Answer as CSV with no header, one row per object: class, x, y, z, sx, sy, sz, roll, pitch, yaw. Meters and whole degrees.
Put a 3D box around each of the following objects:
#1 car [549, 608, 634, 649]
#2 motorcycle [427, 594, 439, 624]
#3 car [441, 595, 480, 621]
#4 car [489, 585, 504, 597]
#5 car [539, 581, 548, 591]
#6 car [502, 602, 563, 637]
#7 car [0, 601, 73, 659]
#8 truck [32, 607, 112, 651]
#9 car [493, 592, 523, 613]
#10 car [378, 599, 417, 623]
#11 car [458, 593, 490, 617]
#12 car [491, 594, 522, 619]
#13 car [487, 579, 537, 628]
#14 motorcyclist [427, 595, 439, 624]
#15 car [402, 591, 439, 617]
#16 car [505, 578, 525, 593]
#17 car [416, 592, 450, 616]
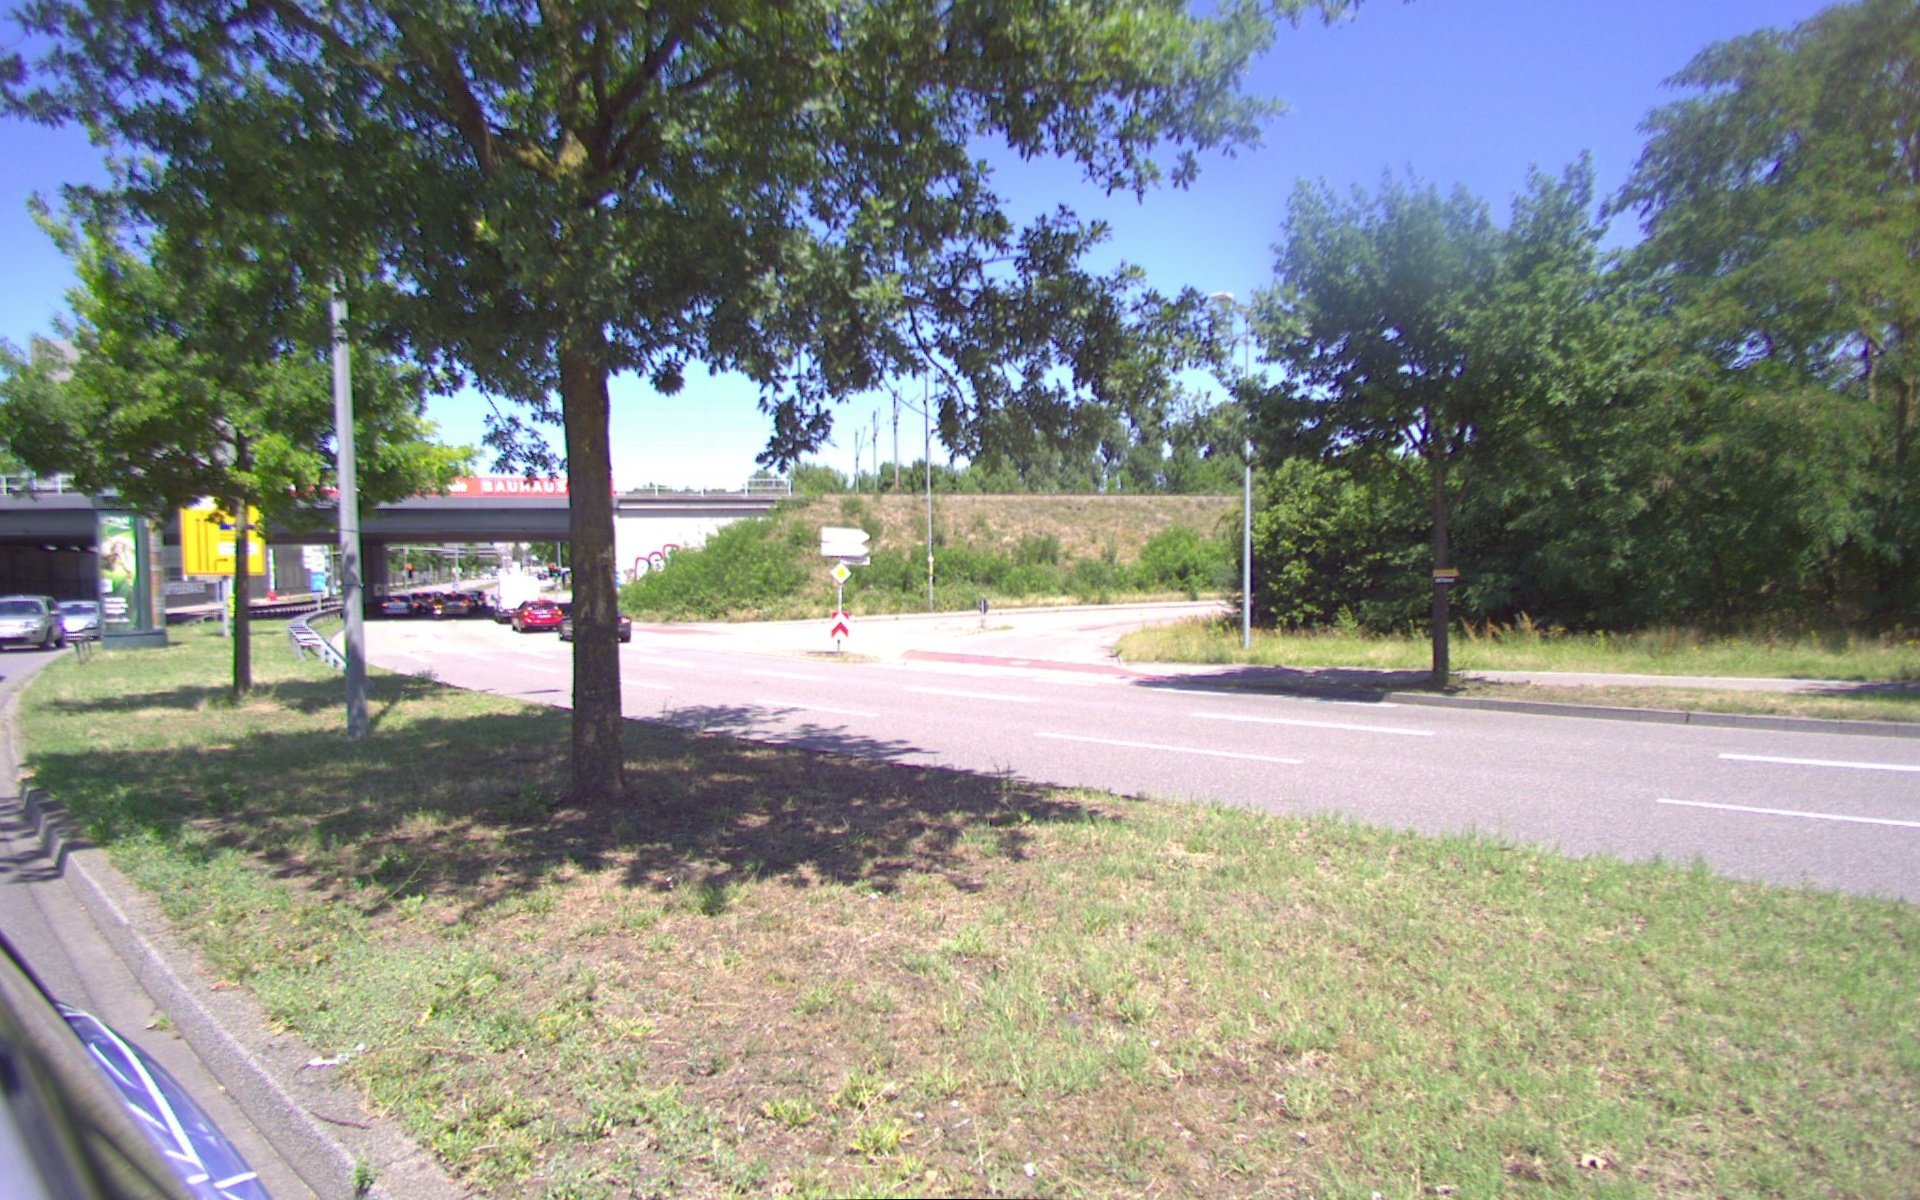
car,-13.602,0.999,37.233,1.785,1.343,4.580,-1,1,-35
motorcycle,-30.424,0.489,58.417,0.589,1.691,2.433,-1,1,-27
car,-31.029,0.520,62.892,1.611,1.579,4.085,0,-1,-18
car,-79.135,-1.469,172.825,1.965,2.029,4.013,-1,1,-21
car,-94.761,-3.181,230.384,1.808,2.029,4.013,-1,1,-22
car,-19.472,0.856,46.032,1.806,1.448,4.539,-1,1,-32
car,-29.828,0.906,32.077,1.815,1.708,3.711,-1,1,-29
truck,-33.913,1.049,38.762,1.703,1.513,4.011,-1,1,-33
car,-33.888,0.136,75.980,1.548,1.514,3.417,-1,1,-16
car,-34.952,0.684,62.985,1.611,1.413,4.235,1,0,-22
car,-39.423,0.361,82.120,1.875,1.874,4.013,-1,1,-20
car,-31.920,0.473,71.326,1.747,1.680,4.028,-1,0,-21
car,-24.815,0.248,55.936,2.065,2.519,5.827,0,-2,-28
motorcyclist,-30.321,0.525,58.205,0.579,1.638,0.564,-1,1,-26
car,-40.381,0.245,75.817,1.875,1.874,4.013,-1,1,-20
car,-63.152,-2.041,143.666,1.966,2.118,6.403,-1,1,-19
car,-42.311,0.276,81.278,1.875,1.874,4.013,-1,1,-20
